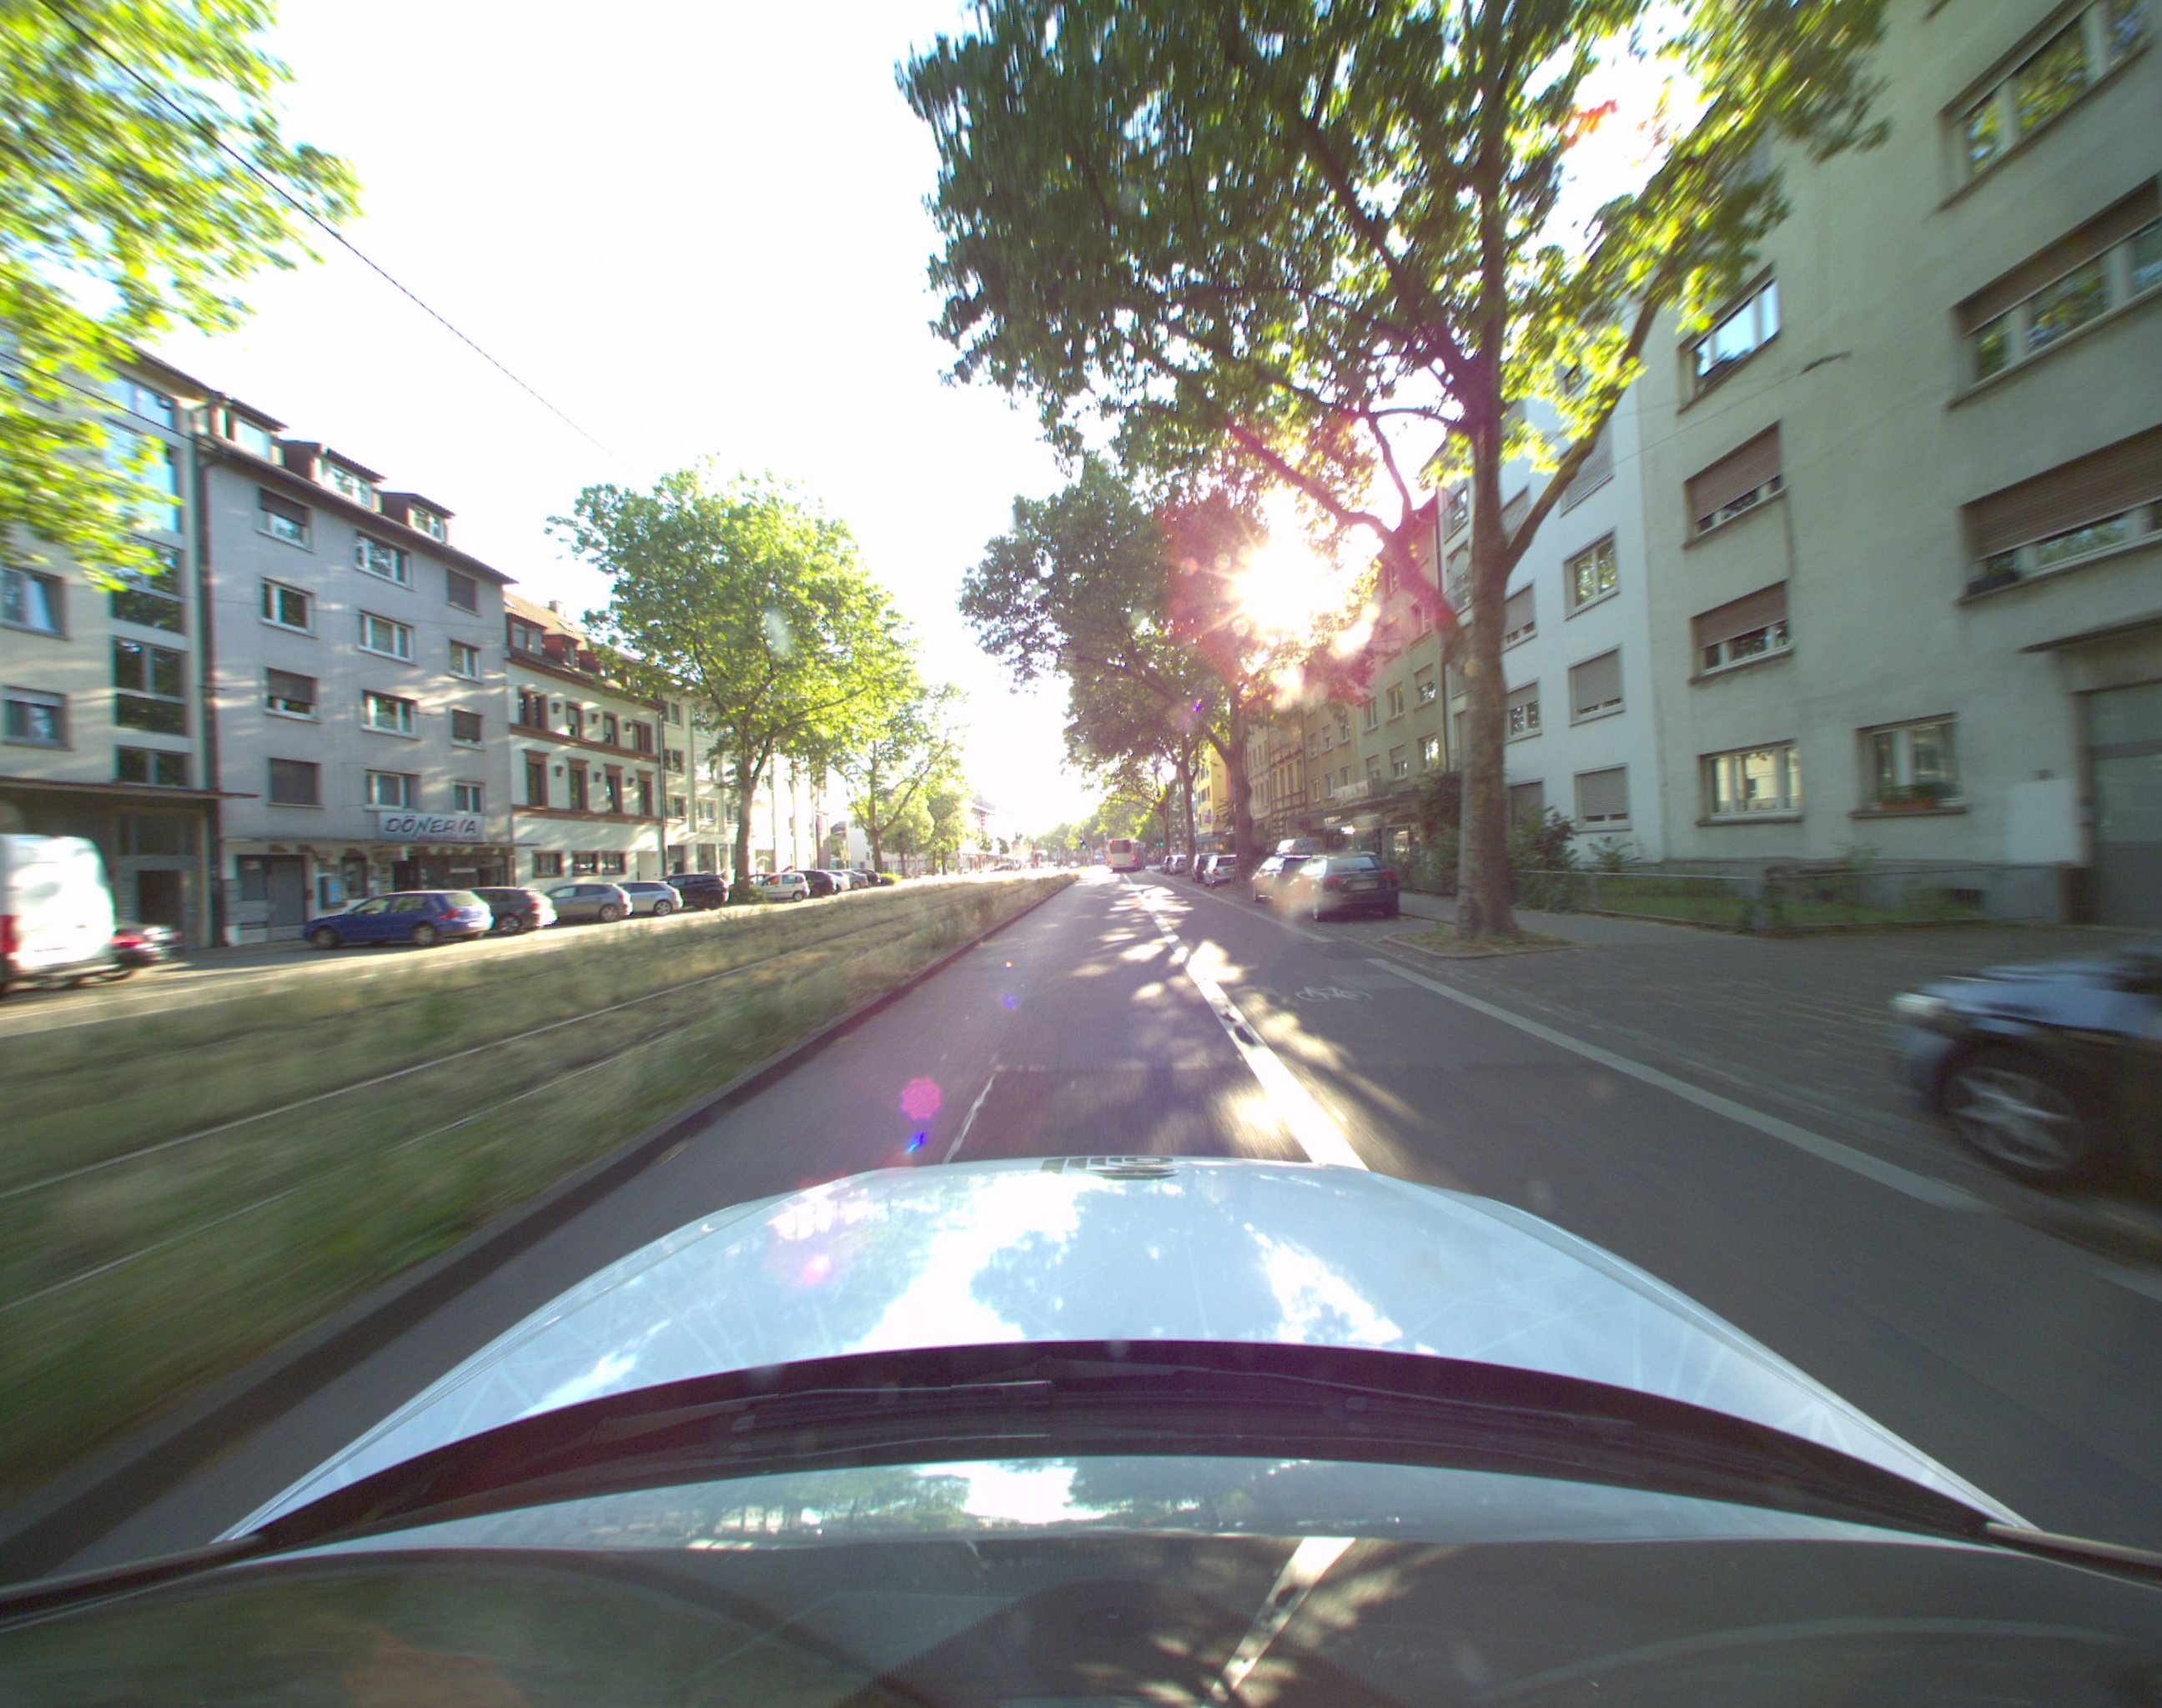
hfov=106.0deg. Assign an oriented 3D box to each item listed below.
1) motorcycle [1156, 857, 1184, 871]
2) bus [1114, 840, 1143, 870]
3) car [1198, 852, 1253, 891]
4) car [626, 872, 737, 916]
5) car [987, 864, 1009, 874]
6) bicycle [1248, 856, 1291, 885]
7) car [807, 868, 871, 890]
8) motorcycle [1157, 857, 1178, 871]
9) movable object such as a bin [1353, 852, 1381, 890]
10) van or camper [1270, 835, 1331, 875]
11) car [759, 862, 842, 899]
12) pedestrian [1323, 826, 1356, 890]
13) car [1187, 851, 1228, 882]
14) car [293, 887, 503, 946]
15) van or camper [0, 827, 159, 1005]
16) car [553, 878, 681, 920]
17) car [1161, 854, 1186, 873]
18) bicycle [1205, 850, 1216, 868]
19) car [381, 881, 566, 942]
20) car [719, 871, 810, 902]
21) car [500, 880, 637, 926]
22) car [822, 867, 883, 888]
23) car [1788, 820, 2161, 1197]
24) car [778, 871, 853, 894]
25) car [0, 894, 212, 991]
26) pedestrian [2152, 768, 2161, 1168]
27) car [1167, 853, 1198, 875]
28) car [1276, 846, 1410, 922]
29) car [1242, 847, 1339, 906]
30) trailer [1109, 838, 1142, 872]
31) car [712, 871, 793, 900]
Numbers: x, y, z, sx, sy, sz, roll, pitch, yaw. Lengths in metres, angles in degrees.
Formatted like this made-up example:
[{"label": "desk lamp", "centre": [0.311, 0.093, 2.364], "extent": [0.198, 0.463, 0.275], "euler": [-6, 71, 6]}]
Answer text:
[{"label": "motorcycle", "centre": [7.764, 0.885, 70.923], "extent": [2.213, 1.063, 0.762], "euler": [-4, 0, -20]}, {"label": "bus", "centre": [5.311, 0.145, 89.415], "extent": [2.798, 3.101, 9.108], "euler": [0, -1, 6]}, {"label": "car", "centre": [6.444, 0.739, 36.769], "extent": [1.688, 1.542, 4.778], "euler": [-3, 0, 1]}, {"label": "car", "centre": [-17.446, 1.714, 35.620], "extent": [4.020, 1.660, 1.977], "euler": [-2, 0, -39]}, {"label": "car", "centre": [-16.514, 2.975, 162.130], "extent": [4.005, 1.816, 1.984], "euler": [-2, 0, -24]}, {"label": "bicycle", "centre": [7.752, 0.672, 33.558], "extent": [0.771, 1.131, 2.068], "euler": [0, -1, -19]}, {"label": "car", "centre": [-16.976, 1.738, 57.175], "extent": [4.020, 1.441, 1.702], "euler": [0, -1, -39]}, {"label": "motorcycle", "centre": [7.768, 0.879, 73.102], "extent": [2.009, 1.152, 0.594], "euler": [-2, 0, -40]}, {"label": "movable object such as a bin", "centre": [9.020, 0.534, 25.688], "extent": [0.614, 1.158, 0.665], "euler": [-2, -1, -1]}, {"label": "van or camper", "centre": [11.798, 0.055, 44.157], "extent": [1.935, 1.922, 5.393], "euler": [-3, 0, 1]}, {"label": "car", "centre": [-16.580, 1.578, 48.090], "extent": [4.370, 1.786, 1.978], "euler": [-4, -1, -24]}, {"label": "pedestrian", "centre": [8.487, 0.131, 26.792], "extent": [0.680, 2.013, 1.012], "euler": [-3, 0, 1]}, {"label": "car", "centre": [6.855, 0.641, 44.520], "extent": [1.647, 1.545, 4.001], "euler": [-3, 0, 1]}, {"label": "car", "centre": [-18.258, 1.646, 21.928], "extent": [3.976, 1.420, 1.856], "euler": [0, -1, -2]}, {"label": "van or camper", "centre": [-18.797, 1.040, 12.366], "extent": [5.966, 2.646, 2.165], "euler": [-2, 0, -19]}, {"label": "car", "centre": [-18.055, 1.685, 31.760], "extent": [4.022, 1.385, 1.889], "euler": [-1, 0, -43]}, {"label": "car", "centre": [7.430, 0.734, 65.584], "extent": [1.703, 1.396, 4.325], "euler": [-3, 0, 3]}, {"label": "bicycle", "centre": [10.702, 0.401, 67.333], "extent": [0.604, 1.426, 2.398], "euler": [0, -1, 3]}, {"label": "car", "centre": [-18.347, 1.693, 24.786], "extent": [3.990, 1.492, 1.943], "euler": [-3, 0, -12]}, {"label": "car", "centre": [-16.666, 1.698, 42.952], "extent": [4.370, 1.449, 1.645], "euler": [-1, -1, -25]}, {"label": "car", "centre": [-18.081, 1.702, 28.912], "extent": [4.014, 1.423, 1.738], "euler": [0, -1, -32]}, {"label": "car", "centre": [-16.905, 1.718, 60.293], "extent": [4.021, 1.479, 1.796], "euler": [0, -1, -41]}, {"label": "car", "centre": [5.091, 0.573, 2.764], "extent": [1.739, 1.463, 4.022], "euler": [-2, 0, -3]}, {"label": "car", "centre": [-16.712, 1.763, 51.326], "extent": [4.222, 1.333, 1.704], "euler": [0, -1, -34]}, {"label": "car", "centre": [-19.261, 1.637, 14.939], "extent": [4.001, 1.490, 1.987], "euler": [-3, 0, -20]}, {"label": "pedestrian", "centre": [3.784, 0.580, 2.322], "extent": [0.747, 1.751, 0.682], "euler": [-1, -1, 43]}, {"label": "car", "centre": [7.345, 0.687, 59.314], "extent": [1.668, 1.451, 4.571], "euler": [-3, 0, 0]}, {"label": "car", "centre": [5.830, 0.623, 18.679], "extent": [1.702, 1.415, 4.365], "euler": [-5, -1, 2]}, {"label": "car", "centre": [5.933, 0.614, 23.571], "extent": [1.702, 1.415, 4.365], "euler": [-5, -1, 2]}, {"label": "trailer", "centre": [4.453, 0.107, 80.480], "extent": [2.798, 3.110, 8.808], "euler": [0, -1, 6]}, {"label": "car", "centre": [-17.905, 1.690, 44.610], "extent": [3.998, 1.479, 1.766], "euler": [0, -1, -19]}]
